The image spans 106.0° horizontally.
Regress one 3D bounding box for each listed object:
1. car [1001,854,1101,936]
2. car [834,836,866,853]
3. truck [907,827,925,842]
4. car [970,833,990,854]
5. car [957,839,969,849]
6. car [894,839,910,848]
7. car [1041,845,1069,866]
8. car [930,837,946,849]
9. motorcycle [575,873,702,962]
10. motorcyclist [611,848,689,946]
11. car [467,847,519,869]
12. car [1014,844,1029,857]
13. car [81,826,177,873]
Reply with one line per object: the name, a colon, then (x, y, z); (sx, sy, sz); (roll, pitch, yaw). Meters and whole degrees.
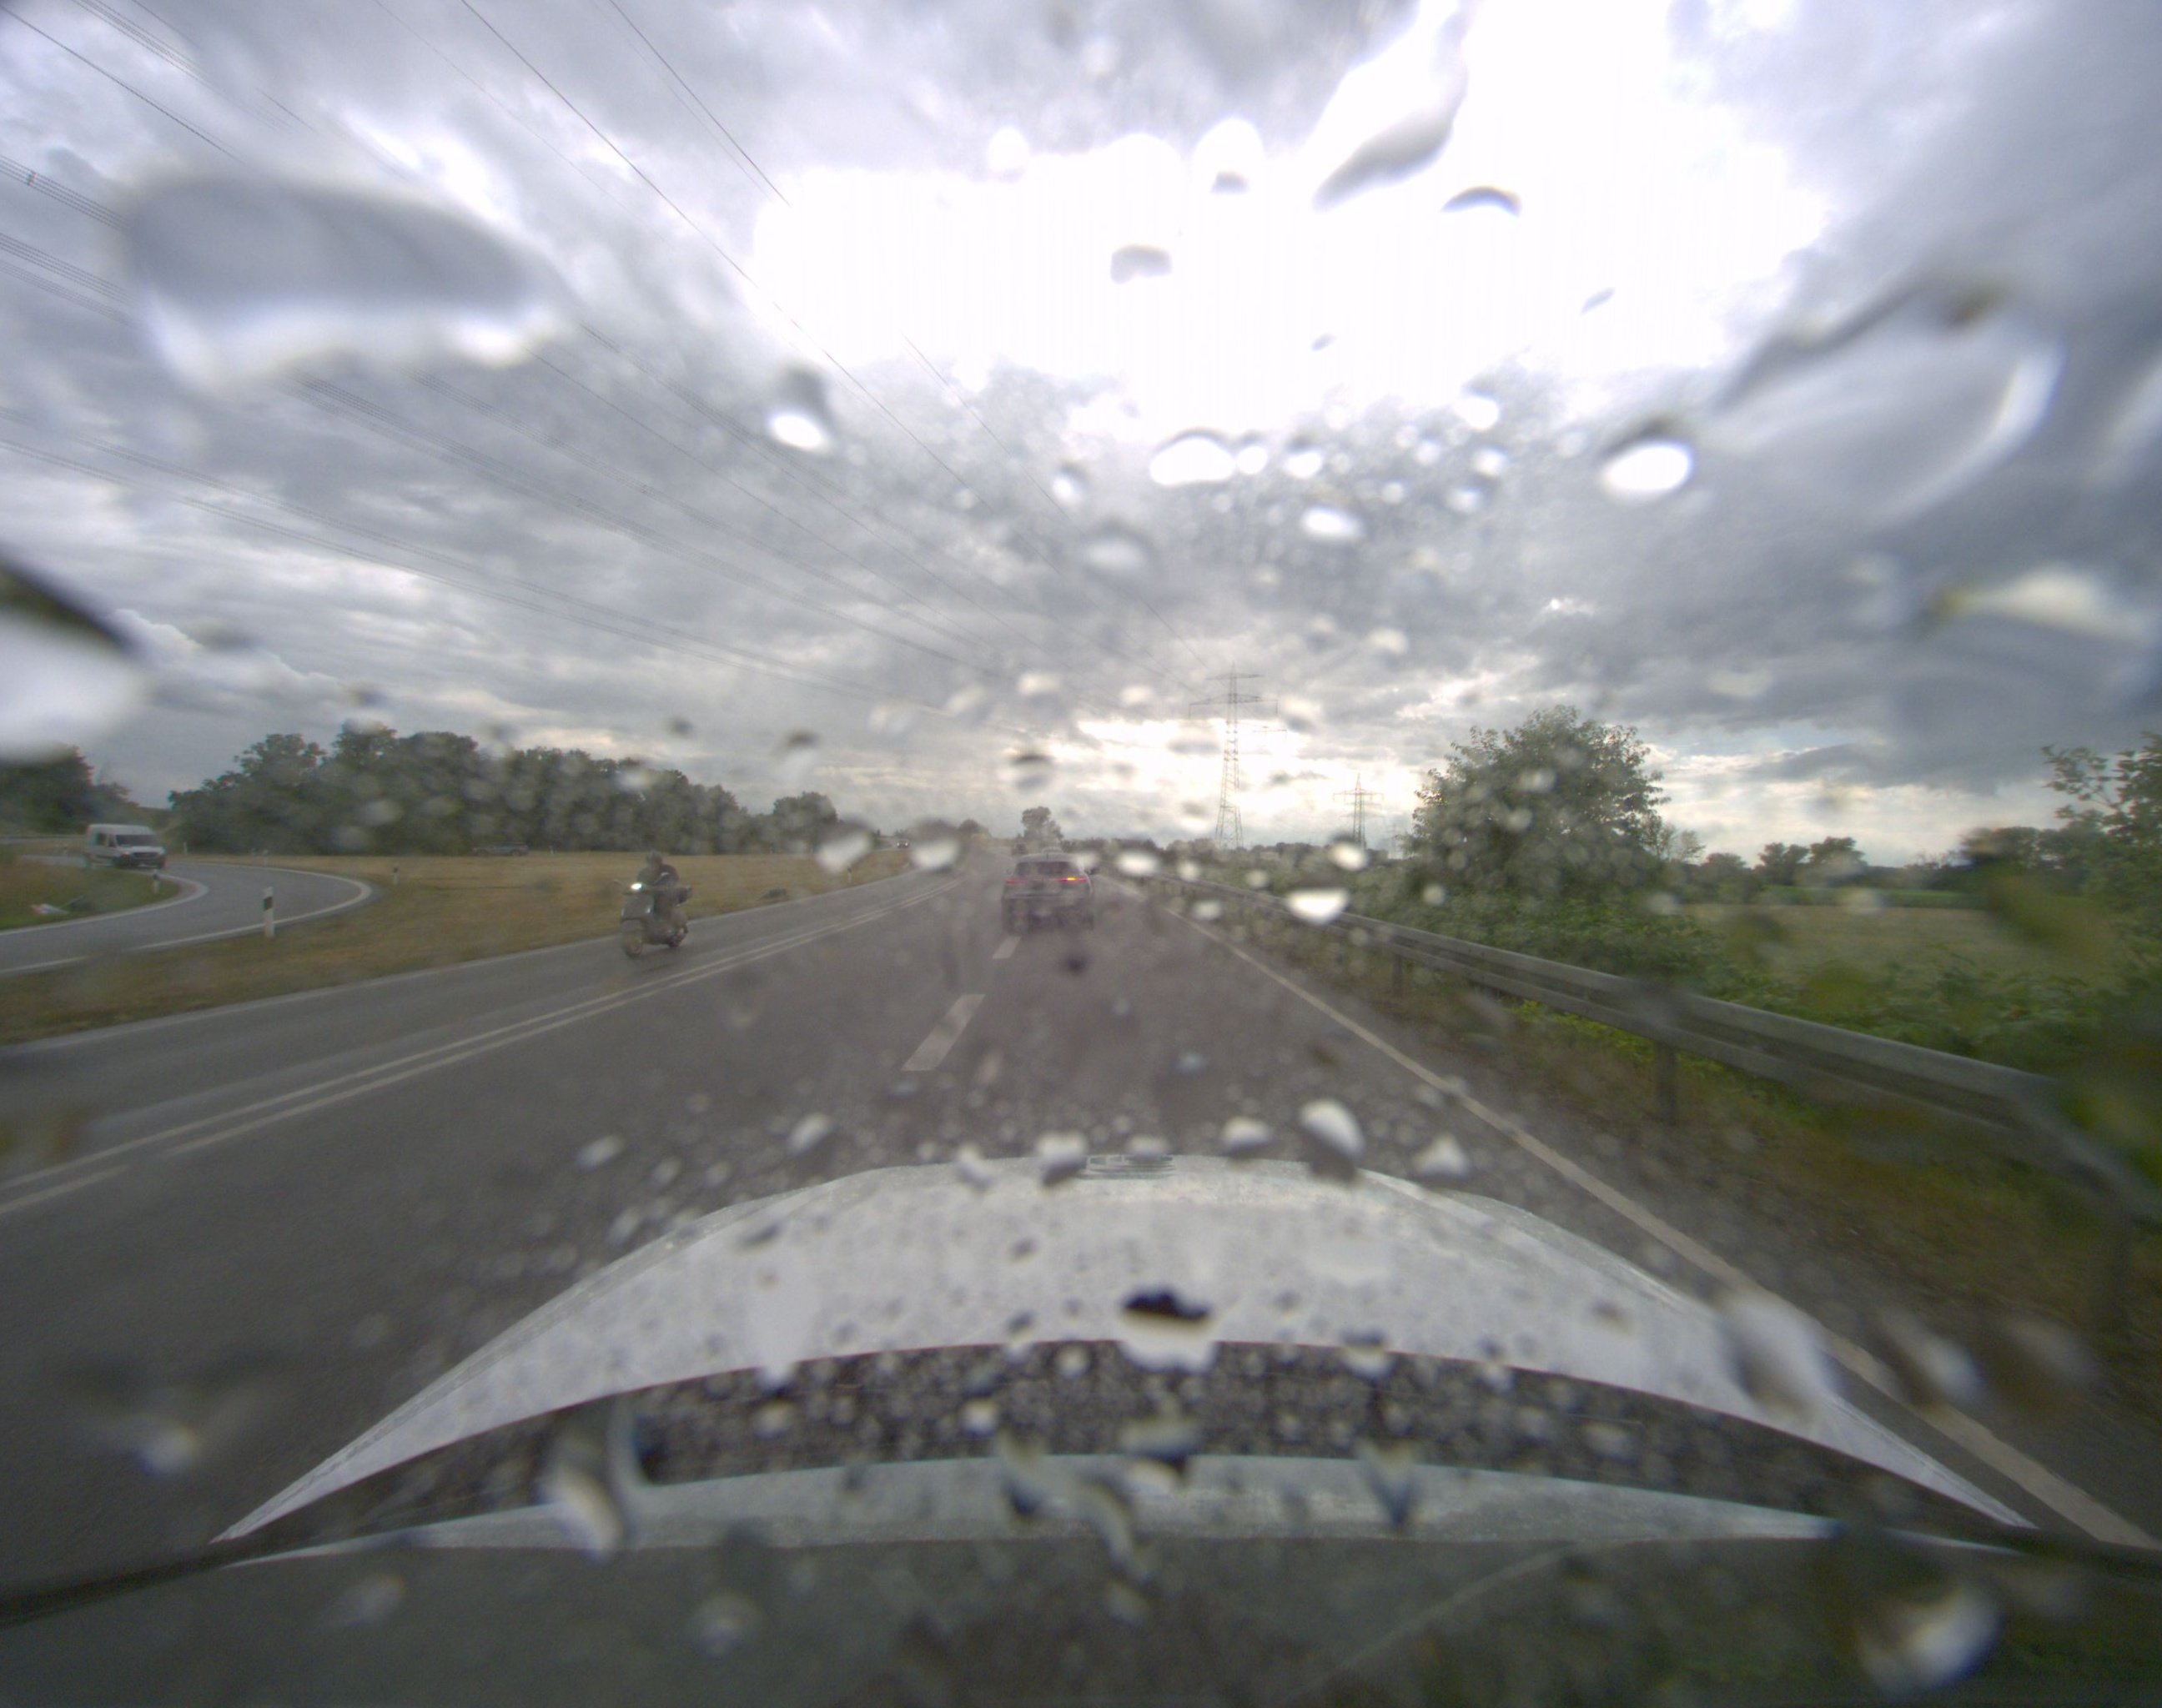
car: (-0.571, 0.744, 16.760); (1.786, 1.441, 3.998); (-1, 0, -1)
car: (-33.273, -1.424, 117.401); (2.421, 2.390, 5.482); (0, 1, 7)
truck: (-39.598, -4.607, 195.206); (3.058, 3.385, 7.588); (0, -1, -22)
car: (-13.653, -1.327, 109.351); (2.572, 2.725, 7.175); (0, 0, -8)
car: (-19.081, -1.615, 131.726); (1.793, 1.687, 3.984); (0, 1, -12)
car: (-30.845, -1.816, 140.537); (1.977, 1.603, 3.912); (1, 1, -3)
car: (-1.942, 0.109, 59.520); (1.789, 1.441, 3.992); (-2, 1, -6)
car: (-29.993, -2.321, 170.542); (2.610, 2.250, 5.500); (0, -1, -18)
motorcycle: (-7.028, 0.958, 13.097); (0.799, 1.238, 2.185); (0, 0, 1)
motorcyclist: (-7.017, 0.679, 13.299); (0.799, 1.535, 0.824); (0, 0, 1)
car: (-59.411, 0.387, 82.412); (4.013, 2.014, 1.980); (4, -2, -32)
car: (-7.125, -0.389, 97.712); (1.788, 1.541, 3.993); (0, -1, -5)
car: (-60.092, -0.313, 51.408); (5.948, 2.750, 2.226); (1, -3, 25)
